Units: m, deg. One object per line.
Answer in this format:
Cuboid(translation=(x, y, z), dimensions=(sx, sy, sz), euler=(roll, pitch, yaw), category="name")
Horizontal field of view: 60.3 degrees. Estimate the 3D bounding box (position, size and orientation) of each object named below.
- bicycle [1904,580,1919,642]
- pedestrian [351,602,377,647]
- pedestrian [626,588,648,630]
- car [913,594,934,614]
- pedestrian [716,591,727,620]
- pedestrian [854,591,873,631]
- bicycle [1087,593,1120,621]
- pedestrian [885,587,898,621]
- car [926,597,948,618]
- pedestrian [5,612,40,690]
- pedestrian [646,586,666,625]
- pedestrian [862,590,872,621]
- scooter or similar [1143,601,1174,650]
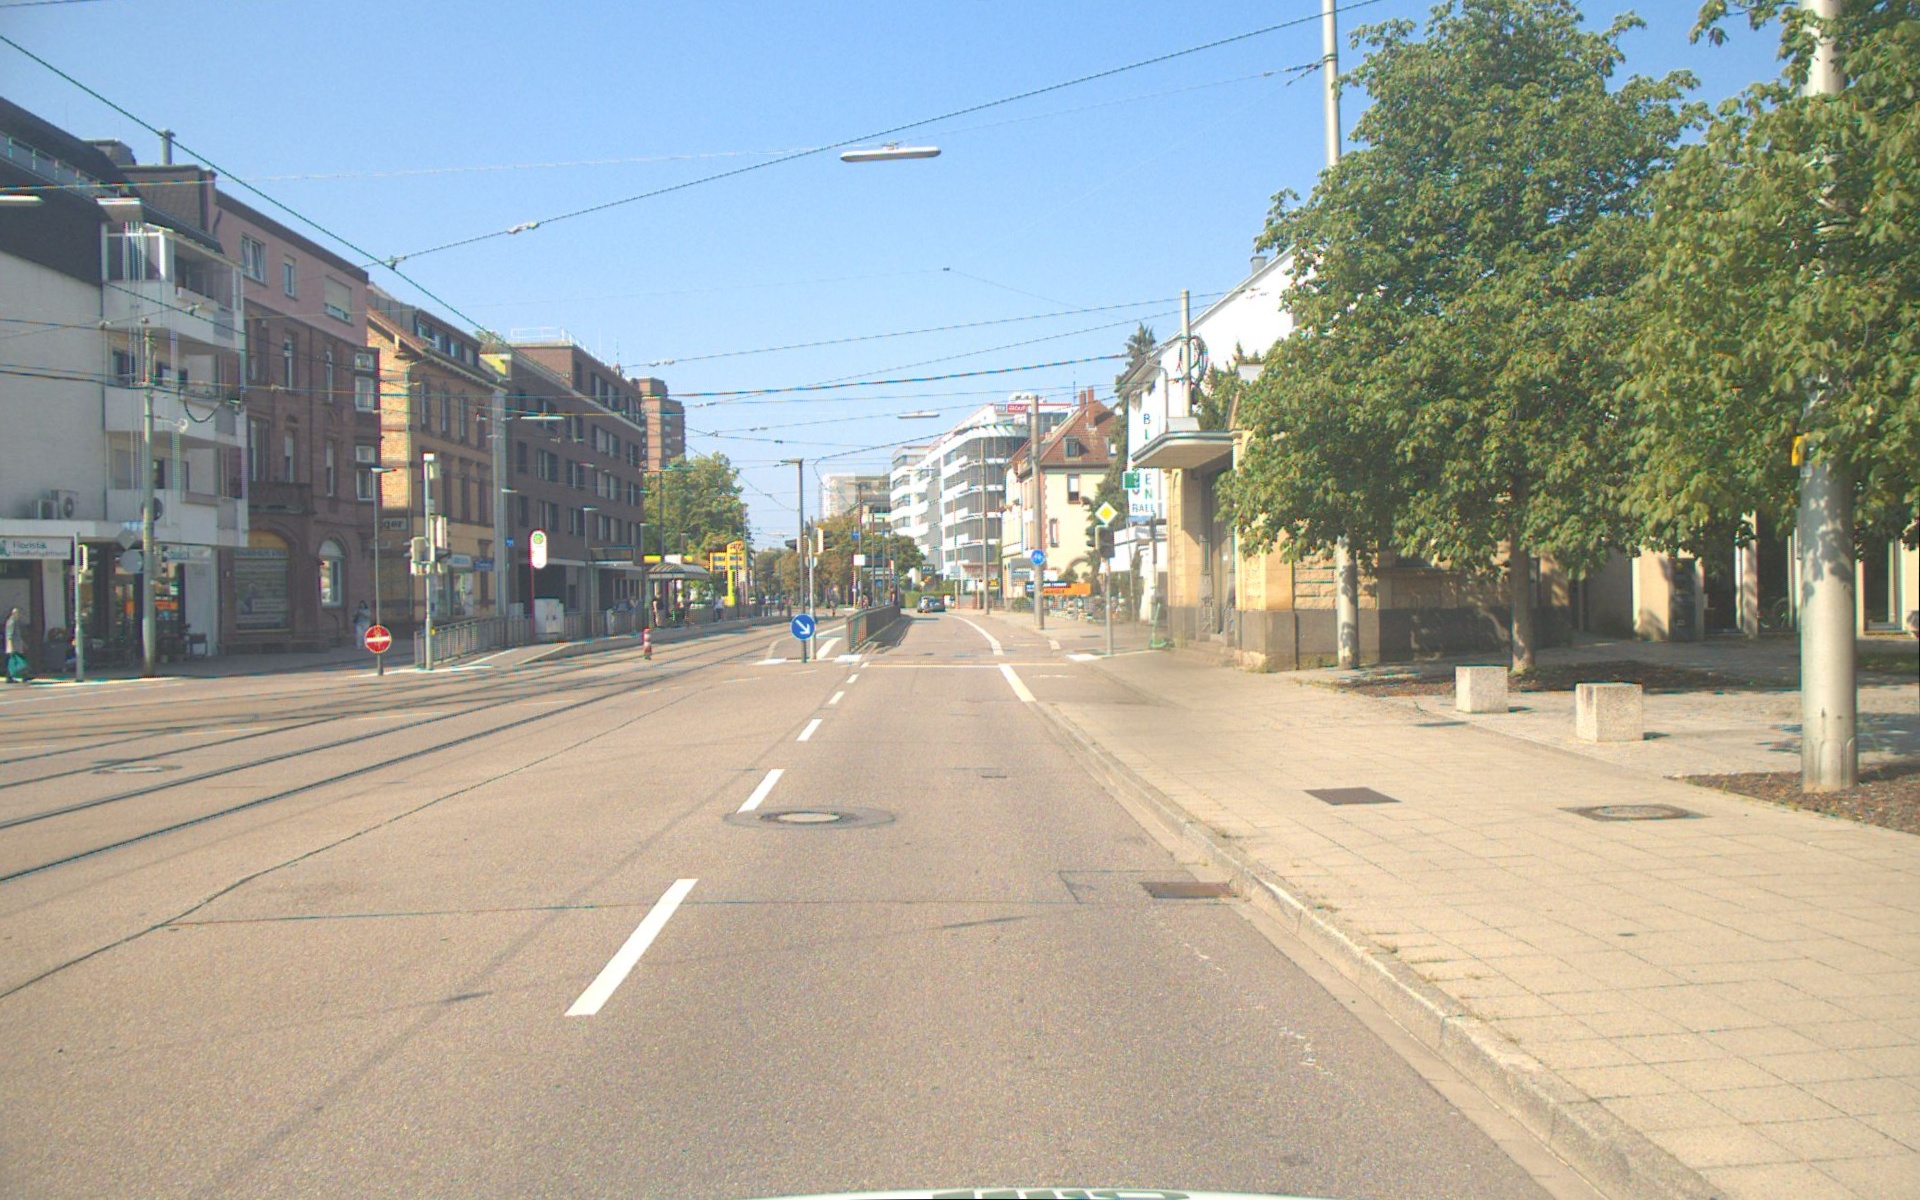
Cuboid(translation=(16.420, 0.169, 26.938), dimensions=(1.865, 0.997, 0.427), euler=(-1, 0, -2), category="bicycle")
Cuboid(translation=(-21.136, 0.867, 58.671), dimensions=(0.472, 1.587, 0.888), euler=(0, -1, 10), category="pedestrian")
Cuboid(translation=(-13.671, 0.371, 69.962), dimensions=(0.693, 1.753, 0.799), euler=(-3, 0, -1), category="pedestrian")
Cuboid(translation=(-3.658, 0.421, 167.498), dimensions=(1.970, 1.891, 4.000), euler=(-3, 0, 0), category="car")
Cuboid(translation=(-13.148, 0.320, 91.190), dimensions=(0.522, 1.556, 0.700), euler=(-3, 0, -7), category="pedestrian")
Cuboid(translation=(-4.274, 0.492, 73.461), dimensions=(0.705, 1.732, 0.884), euler=(-3, 0, 0), category="pedestrian")
Cuboid(translation=(6.195, 0.301, 71.432), dimensions=(0.717, 1.152, 2.834), euler=(-5, 0, -8), category="bicycle")
Cuboid(translation=(-3.546, 0.227, 85.601), dimensions=(0.526, 1.732, 0.581), euler=(-3, 0, -4), category="pedestrian")
Cuboid(translation=(-2.274, 0.738, 161.454), dimensions=(1.970, 1.891, 4.000), euler=(-3, 0, 0), category="car")
Cuboid(translation=(-21.833, 1.190, 38.518), dimensions=(0.593, 1.775, 0.559), euler=(-3, 0, -34), category="pedestrian")
Cuboid(translation=(-14.097, 0.242, 76.600), dimensions=(0.693, 1.777, 0.799), euler=(-3, 0, -1), category="pedestrian")
Cuboid(translation=(-5.339, 0.331, 95.055), dimensions=(0.526, 1.732, 0.581), euler=(-3, 0, -4), category="pedestrian")
Cuboid(translation=(4.842, 0.614, 40.330), dimensions=(0.512, 1.153, 1.511), euler=(-3, 0, 0), category="scooter or similar")
